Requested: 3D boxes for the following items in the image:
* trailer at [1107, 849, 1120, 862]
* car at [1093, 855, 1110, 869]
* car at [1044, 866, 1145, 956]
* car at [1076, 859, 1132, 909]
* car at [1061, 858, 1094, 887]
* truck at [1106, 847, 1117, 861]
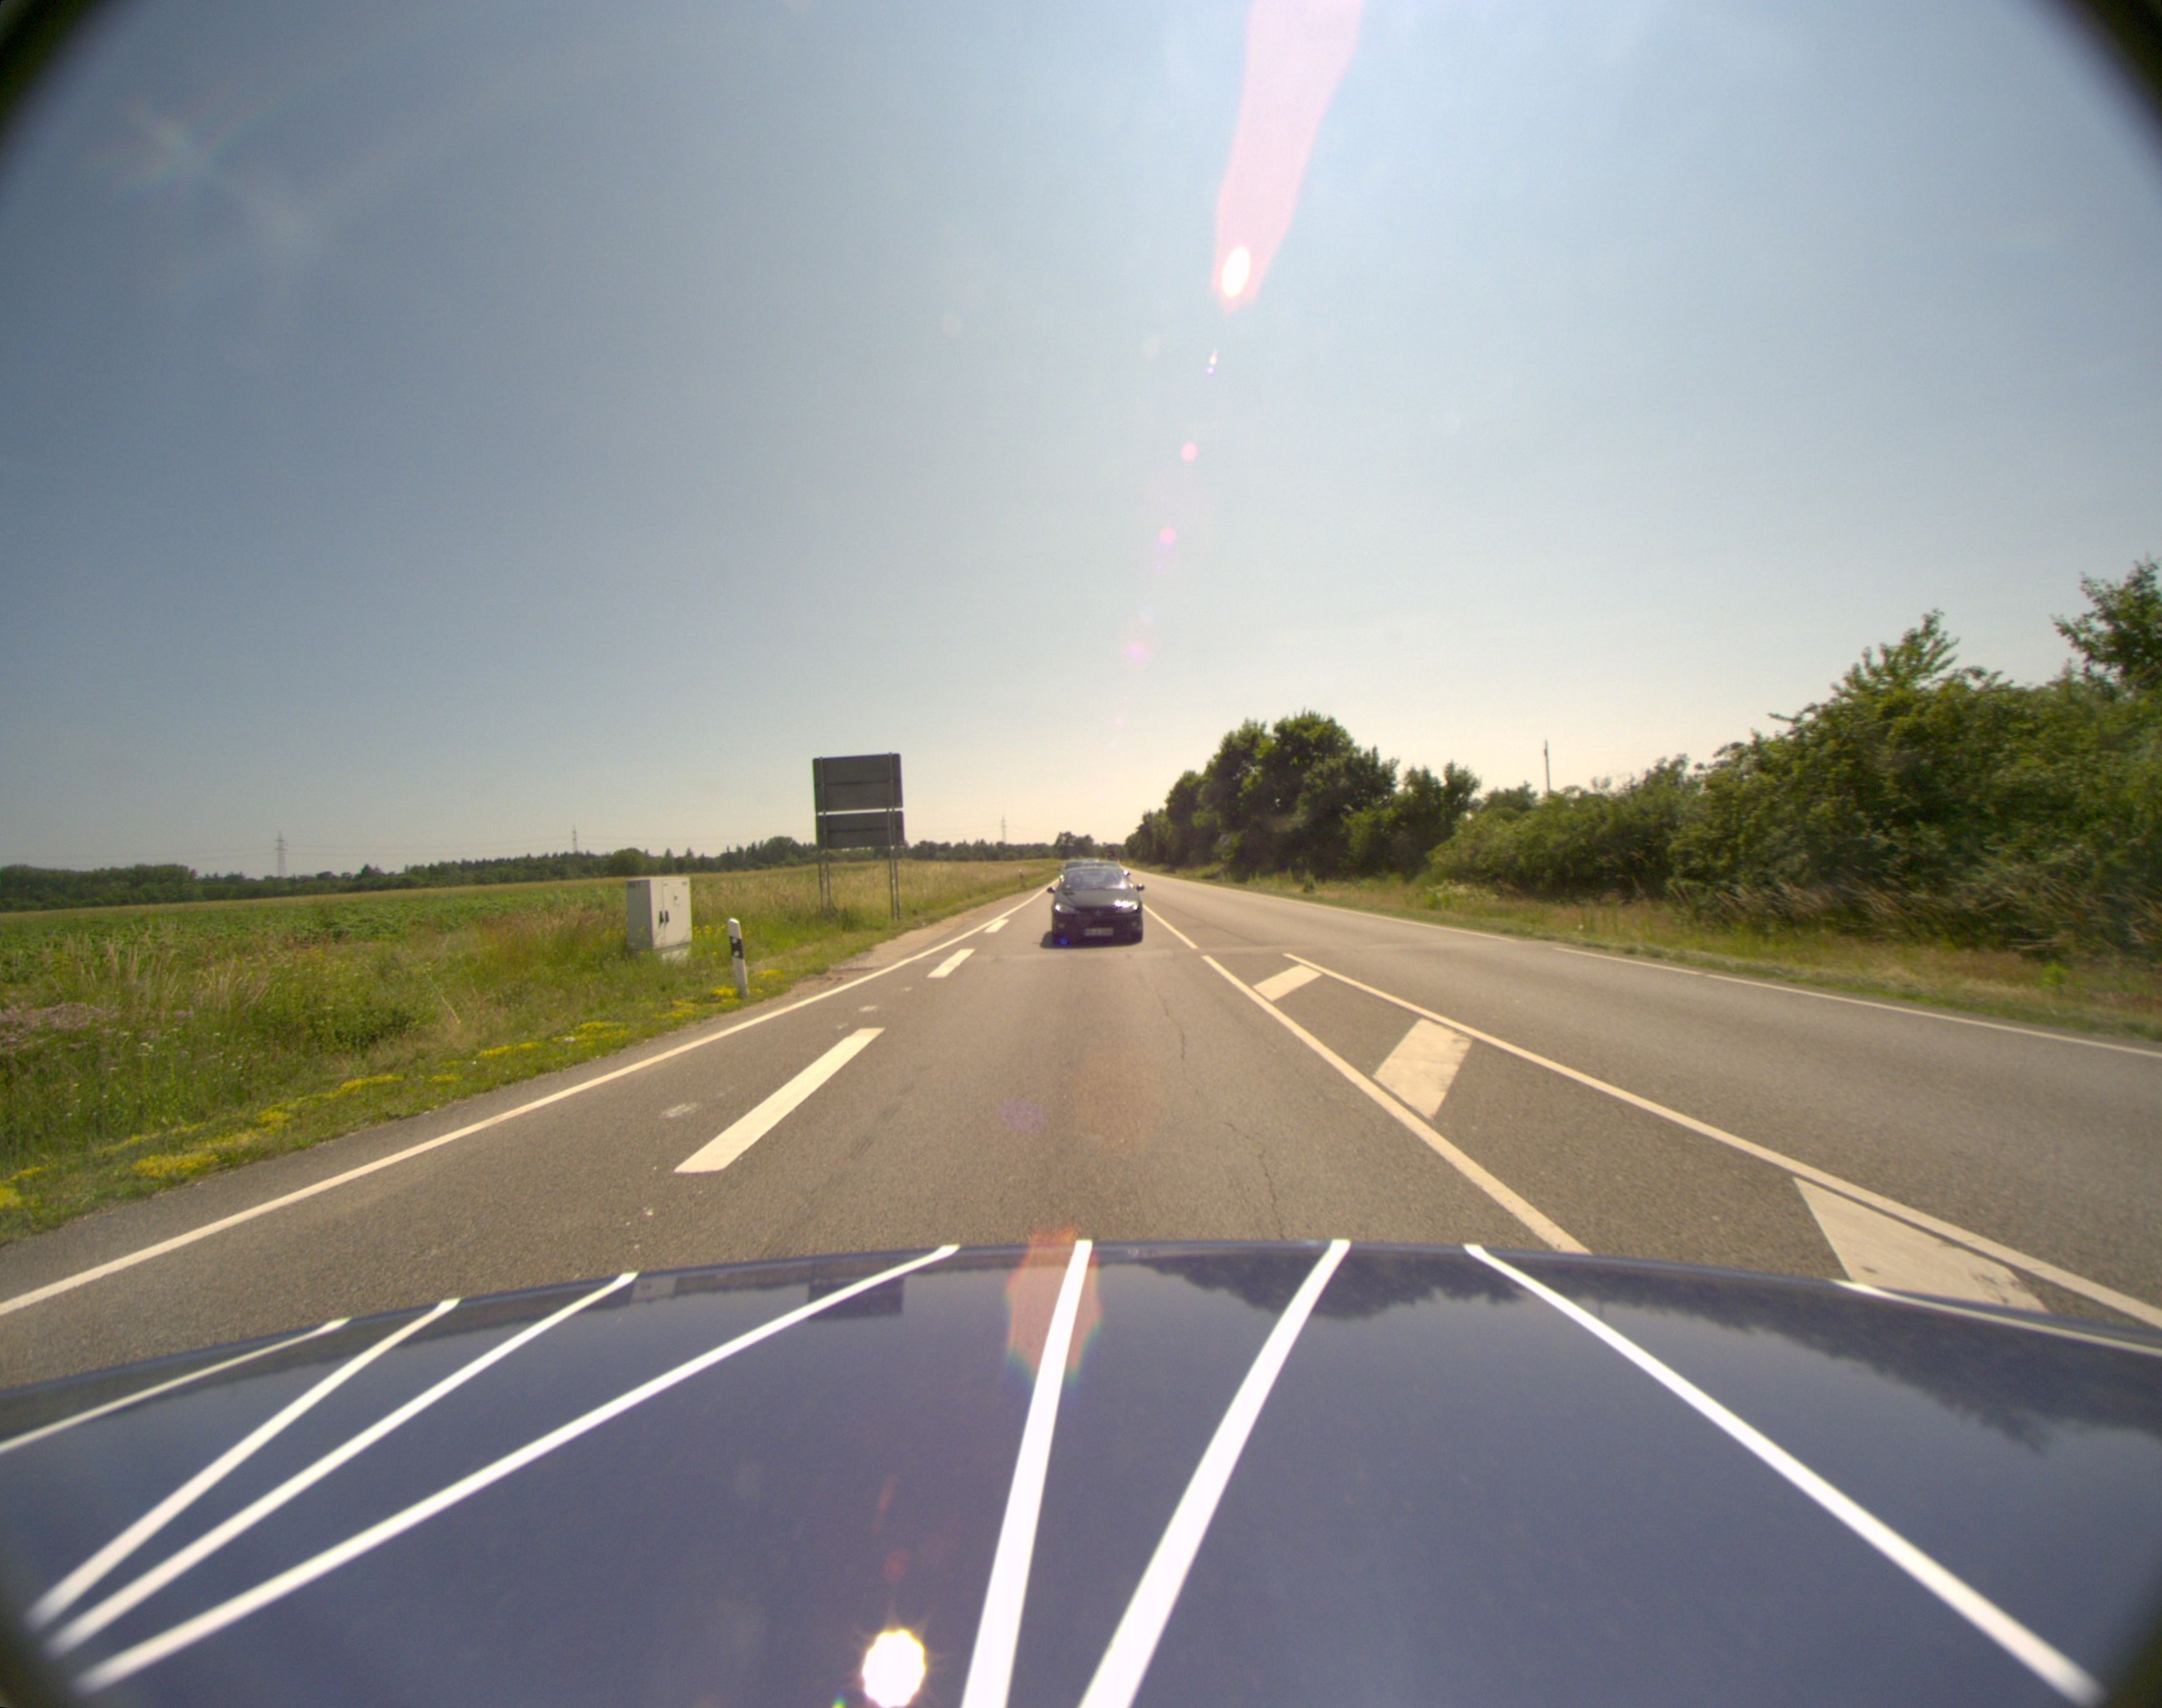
[{"bbox_3d":[8.884,0.349,210.412,2.669,3.440,14.948,-1,0,-1],"label":"trailer"},{"bbox_3d":[1.953,0.766,73.886,1.588,1.294,3.631,-2,0,1],"label":"car"},{"bbox_3d":[0.259,0.994,14.725,1.665,1.389,3.731,-2,0,1],"label":"car"},{"bbox_3d":[0.713,0.957,25.955,1.665,1.477,3.731,-2,0,-1],"label":"car"},{"bbox_3d":[-0.186,0.966,41.469,1.665,1.449,4.173,-2,0,0],"label":"car"},{"bbox_3d":[8.774,0.121,217.884,2.709,3.908,5.952,-1,0,-1],"label":"truck"}]
